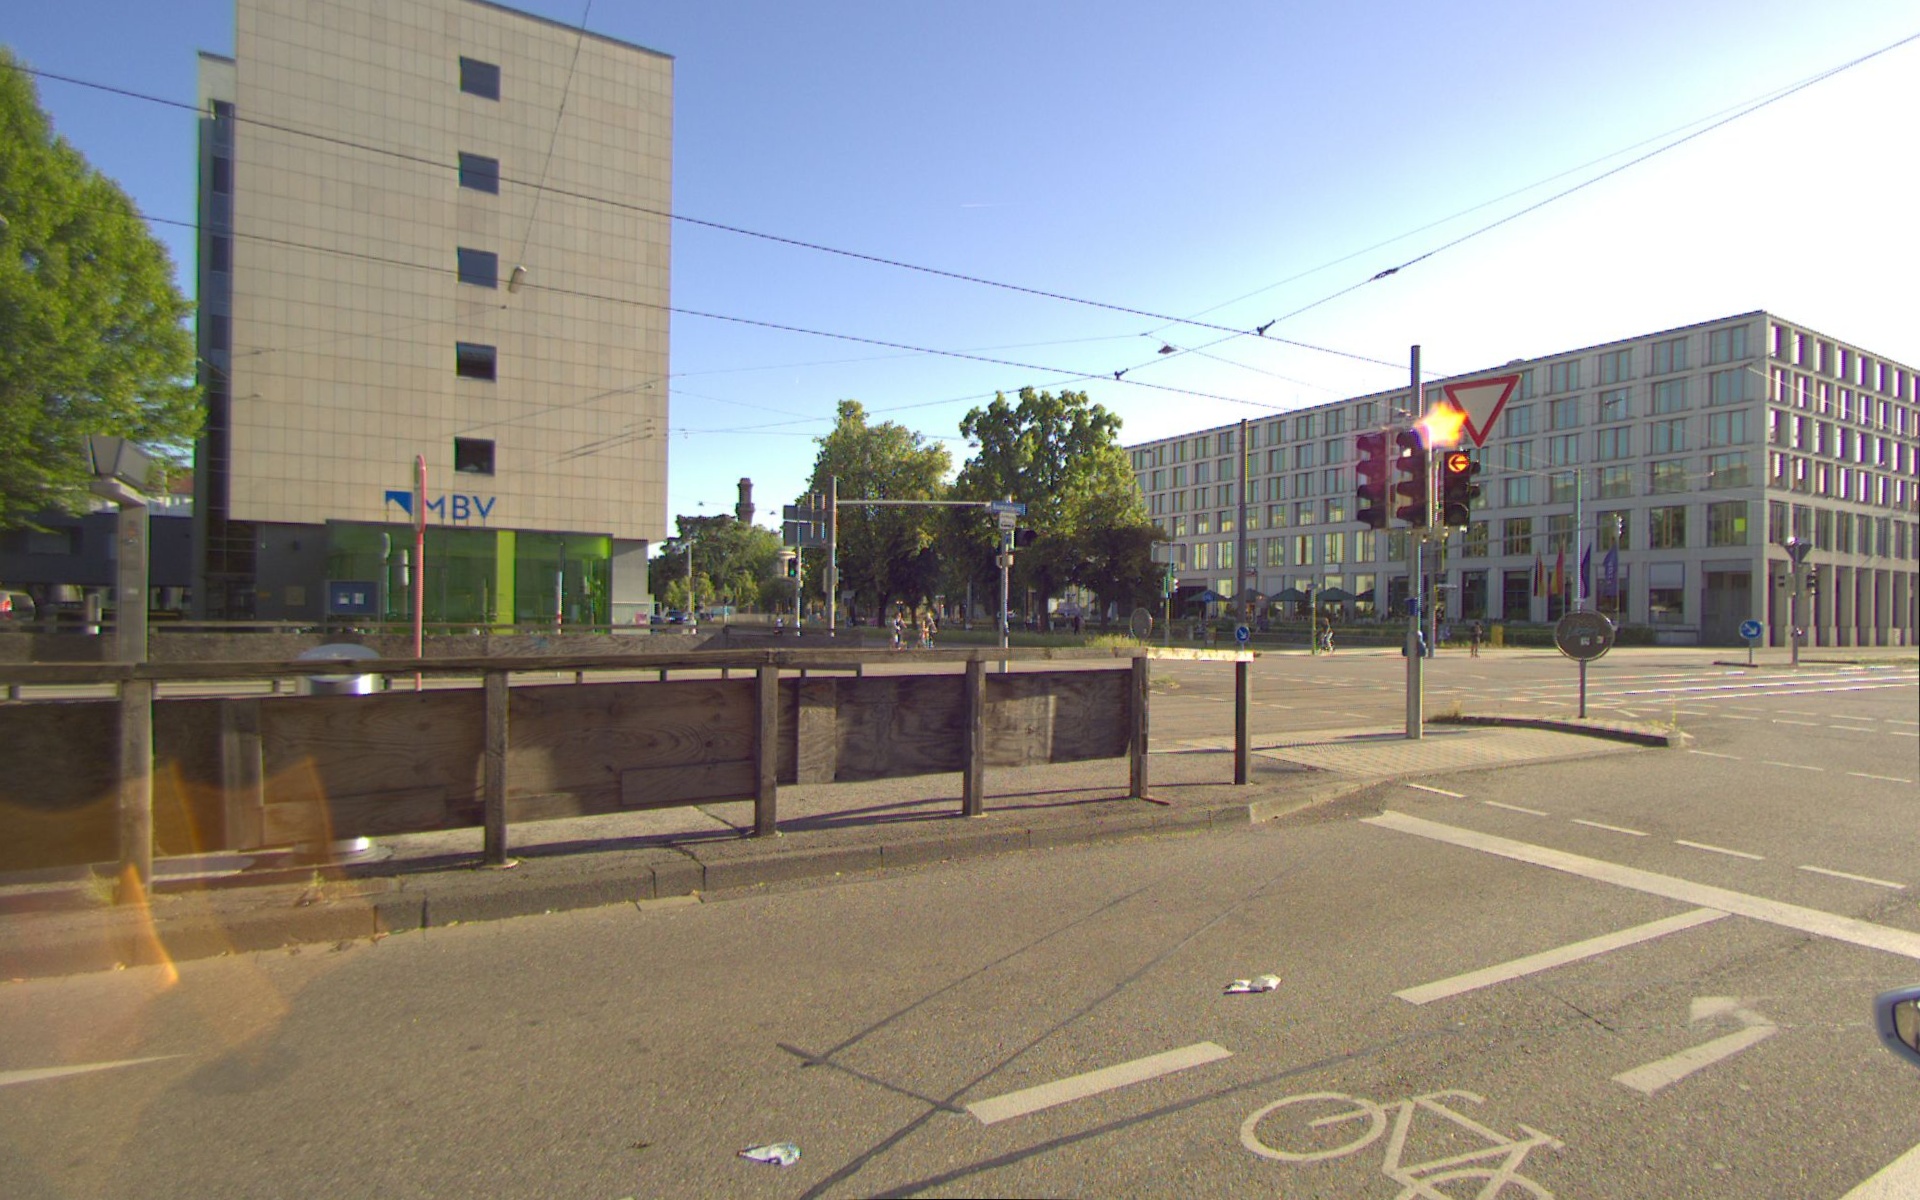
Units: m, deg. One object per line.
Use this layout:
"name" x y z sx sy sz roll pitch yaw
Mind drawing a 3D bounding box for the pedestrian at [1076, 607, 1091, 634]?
"pedestrian" 9.392 1.561 76.237 0.812 2.040 0.841 2 0 -20

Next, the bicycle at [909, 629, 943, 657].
"bicycle" -1.462 1.822 42.546 0.616 1.148 1.869 1 -1 -31

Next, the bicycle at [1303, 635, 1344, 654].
"bicycle" 17.844 2.182 49.329 1.834 0.947 0.760 1 -1 -18

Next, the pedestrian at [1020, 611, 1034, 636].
"pedestrian" 5.288 1.830 79.439 0.863 1.925 0.713 2 0 -25

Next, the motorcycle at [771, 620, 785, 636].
"motorcycle" -13.586 2.100 75.014 0.524 1.153 1.449 1 -1 -34

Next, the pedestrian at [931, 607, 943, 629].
"pedestrian" -2.155 1.659 93.625 0.816 2.040 0.837 2 0 -32

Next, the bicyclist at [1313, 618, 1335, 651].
"bicyclist" 17.875 1.704 49.332 0.765 1.610 0.759 1 -1 -15

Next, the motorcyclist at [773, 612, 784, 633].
"motorcyclist" -13.565 1.685 75.020 0.561 1.598 0.642 1 -1 -34

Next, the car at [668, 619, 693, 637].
"car" -27.896 2.787 100.341 1.611 1.639 3.623 2 0 -28

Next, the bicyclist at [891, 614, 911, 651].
"bicyclist" -2.481 1.377 42.328 0.647 1.544 0.615 1 -1 -32

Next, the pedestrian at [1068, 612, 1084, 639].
"pedestrian" 8.685 1.912 75.223 0.861 1.925 0.714 2 0 -20

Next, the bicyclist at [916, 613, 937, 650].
"bicyclist" -1.417 1.335 42.492 0.602 1.544 0.709 1 -1 -32

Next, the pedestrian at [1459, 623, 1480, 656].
"pedestrian" 24.914 1.930 49.145 0.586 1.610 0.768 1 -1 -40

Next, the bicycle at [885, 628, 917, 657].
"bicycle" -2.502 1.773 42.361 0.574 1.148 1.776 1 -1 -31
